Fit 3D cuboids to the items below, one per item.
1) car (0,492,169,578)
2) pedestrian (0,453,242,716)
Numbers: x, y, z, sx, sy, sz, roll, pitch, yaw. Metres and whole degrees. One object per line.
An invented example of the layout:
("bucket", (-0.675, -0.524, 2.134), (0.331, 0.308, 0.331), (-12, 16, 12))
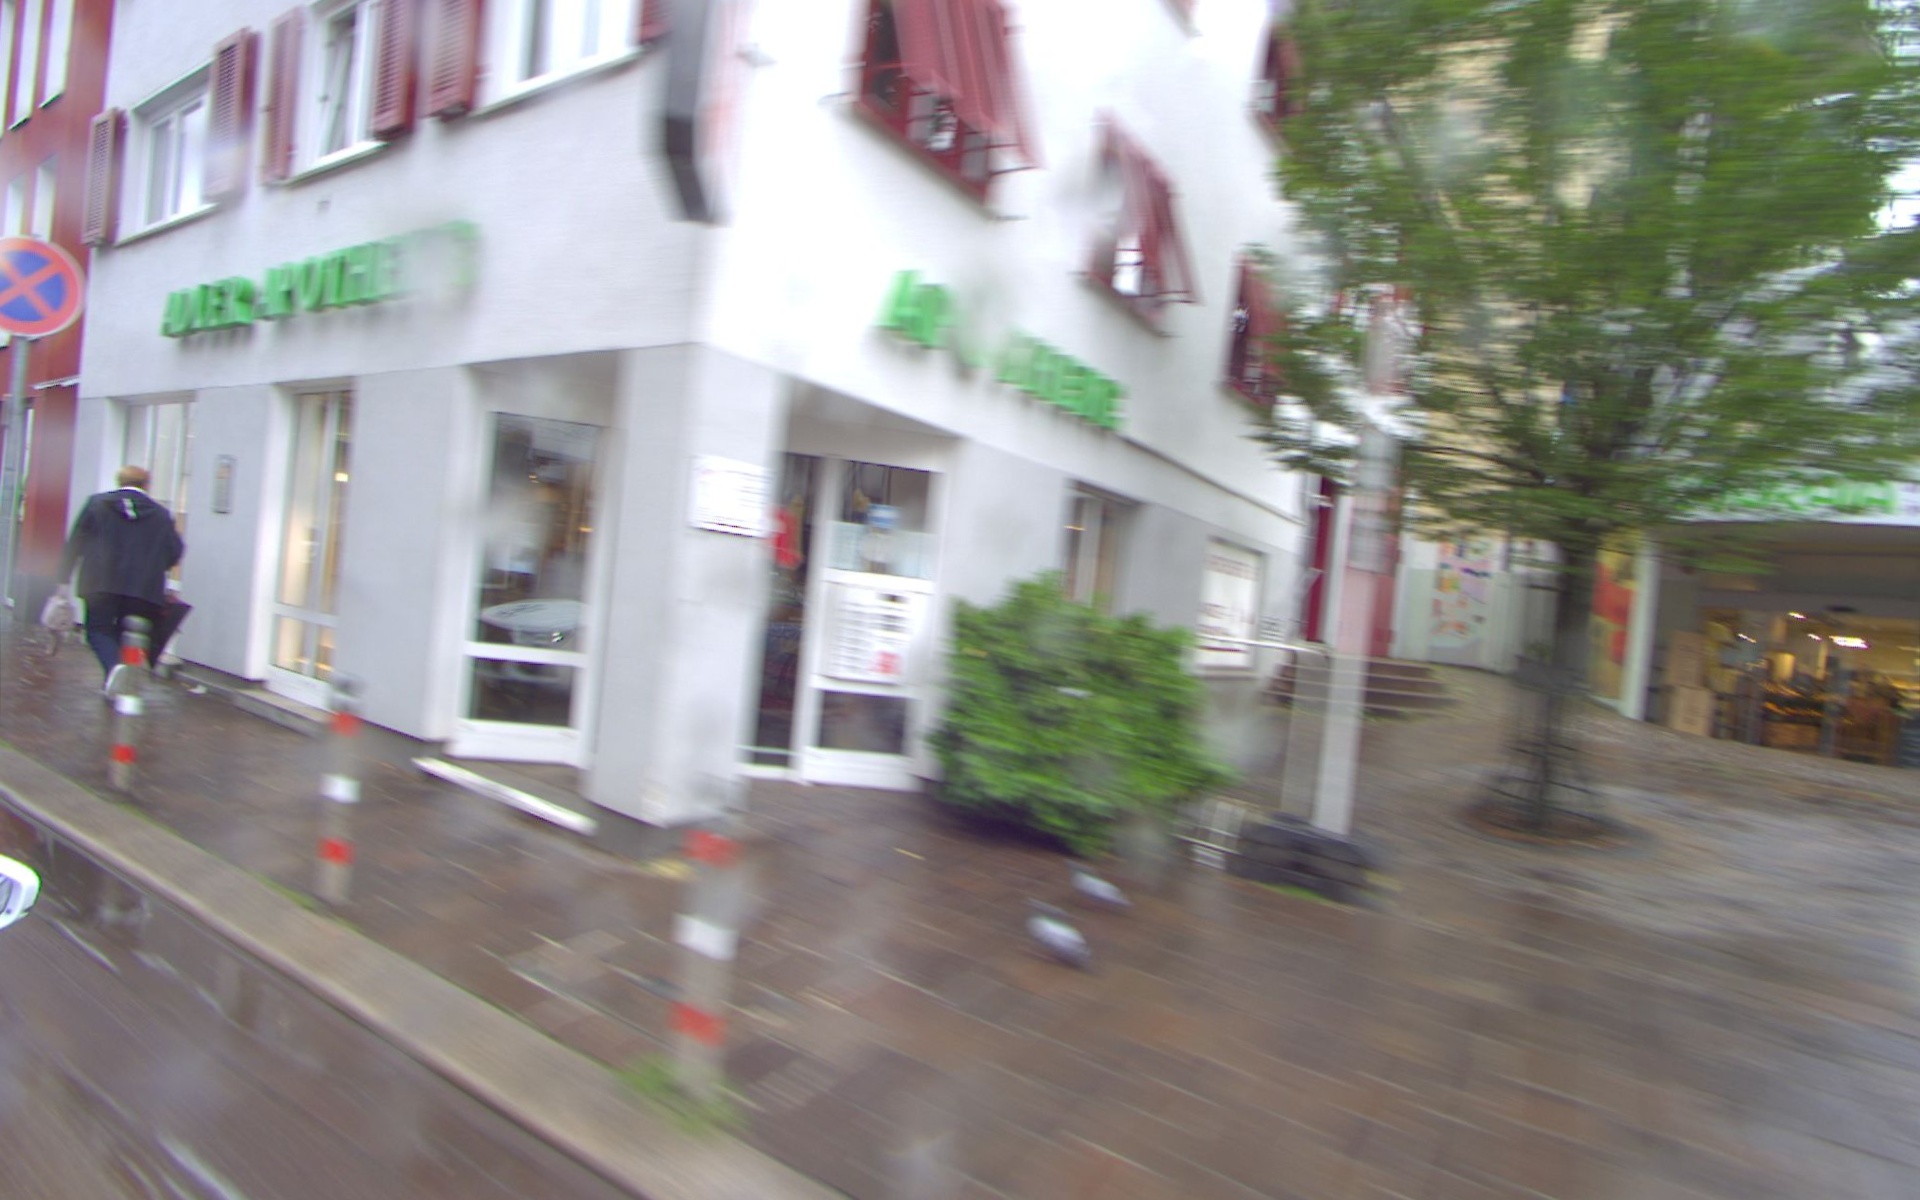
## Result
("car", (-19.318, -1.380, 21.119), (1.887, 1.533, 3.976), (3, 0, 43))
("pedestrian", (-6.267, -0.121, 7.379), (1.157, 1.720, 1.178), (6, 2, 29))
